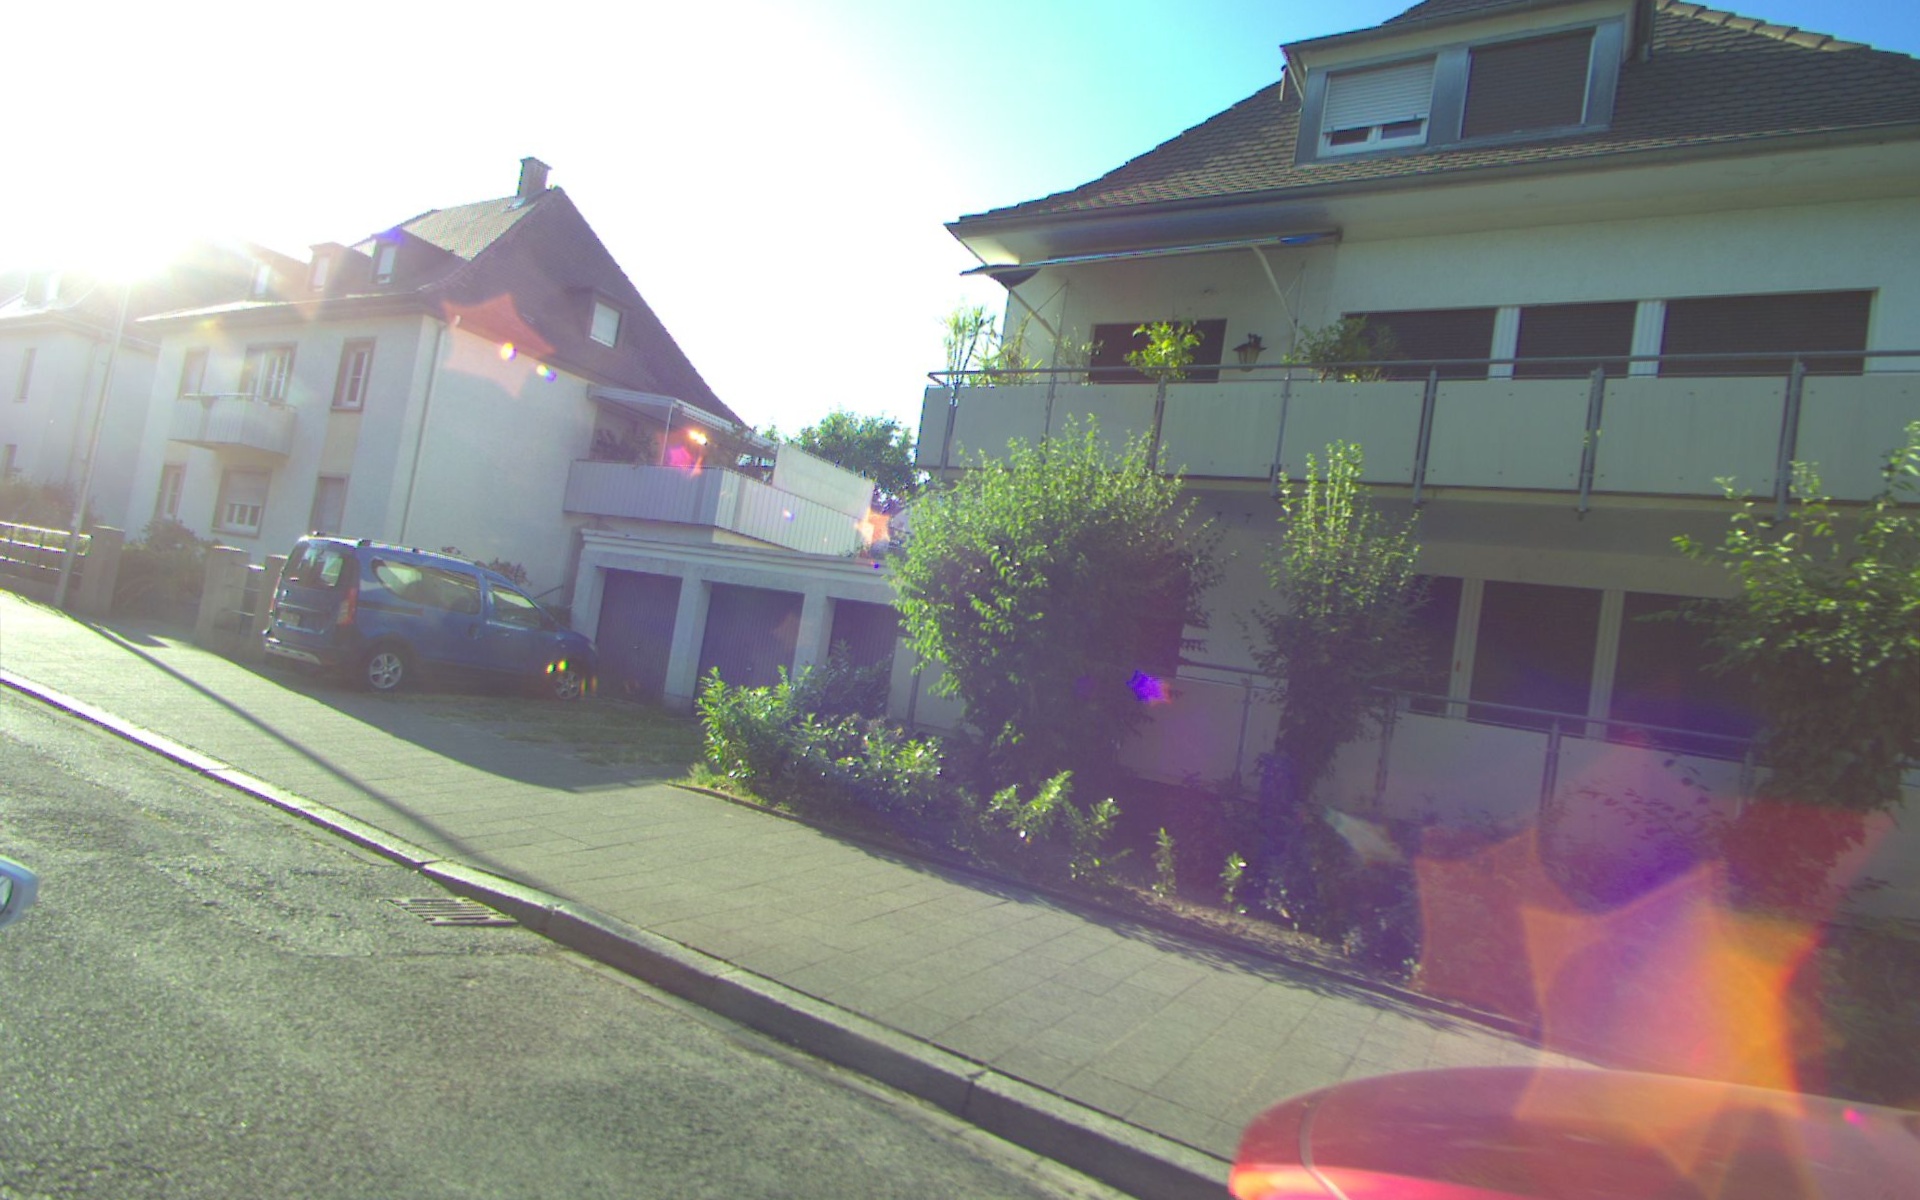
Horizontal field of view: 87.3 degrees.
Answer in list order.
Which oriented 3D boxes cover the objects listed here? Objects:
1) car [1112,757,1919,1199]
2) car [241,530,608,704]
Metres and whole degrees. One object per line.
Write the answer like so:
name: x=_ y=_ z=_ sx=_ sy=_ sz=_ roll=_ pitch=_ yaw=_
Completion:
car: x=2.402 y=1.261 z=1.171 sx=4.133 sy=1.372 sz=1.717 roll=6 pitch=-7 yaw=32
car: x=-6.984 y=0.360 z=13.625 sx=1.730 sy=1.840 sz=4.003 roll=1 pitch=-7 yaw=27
